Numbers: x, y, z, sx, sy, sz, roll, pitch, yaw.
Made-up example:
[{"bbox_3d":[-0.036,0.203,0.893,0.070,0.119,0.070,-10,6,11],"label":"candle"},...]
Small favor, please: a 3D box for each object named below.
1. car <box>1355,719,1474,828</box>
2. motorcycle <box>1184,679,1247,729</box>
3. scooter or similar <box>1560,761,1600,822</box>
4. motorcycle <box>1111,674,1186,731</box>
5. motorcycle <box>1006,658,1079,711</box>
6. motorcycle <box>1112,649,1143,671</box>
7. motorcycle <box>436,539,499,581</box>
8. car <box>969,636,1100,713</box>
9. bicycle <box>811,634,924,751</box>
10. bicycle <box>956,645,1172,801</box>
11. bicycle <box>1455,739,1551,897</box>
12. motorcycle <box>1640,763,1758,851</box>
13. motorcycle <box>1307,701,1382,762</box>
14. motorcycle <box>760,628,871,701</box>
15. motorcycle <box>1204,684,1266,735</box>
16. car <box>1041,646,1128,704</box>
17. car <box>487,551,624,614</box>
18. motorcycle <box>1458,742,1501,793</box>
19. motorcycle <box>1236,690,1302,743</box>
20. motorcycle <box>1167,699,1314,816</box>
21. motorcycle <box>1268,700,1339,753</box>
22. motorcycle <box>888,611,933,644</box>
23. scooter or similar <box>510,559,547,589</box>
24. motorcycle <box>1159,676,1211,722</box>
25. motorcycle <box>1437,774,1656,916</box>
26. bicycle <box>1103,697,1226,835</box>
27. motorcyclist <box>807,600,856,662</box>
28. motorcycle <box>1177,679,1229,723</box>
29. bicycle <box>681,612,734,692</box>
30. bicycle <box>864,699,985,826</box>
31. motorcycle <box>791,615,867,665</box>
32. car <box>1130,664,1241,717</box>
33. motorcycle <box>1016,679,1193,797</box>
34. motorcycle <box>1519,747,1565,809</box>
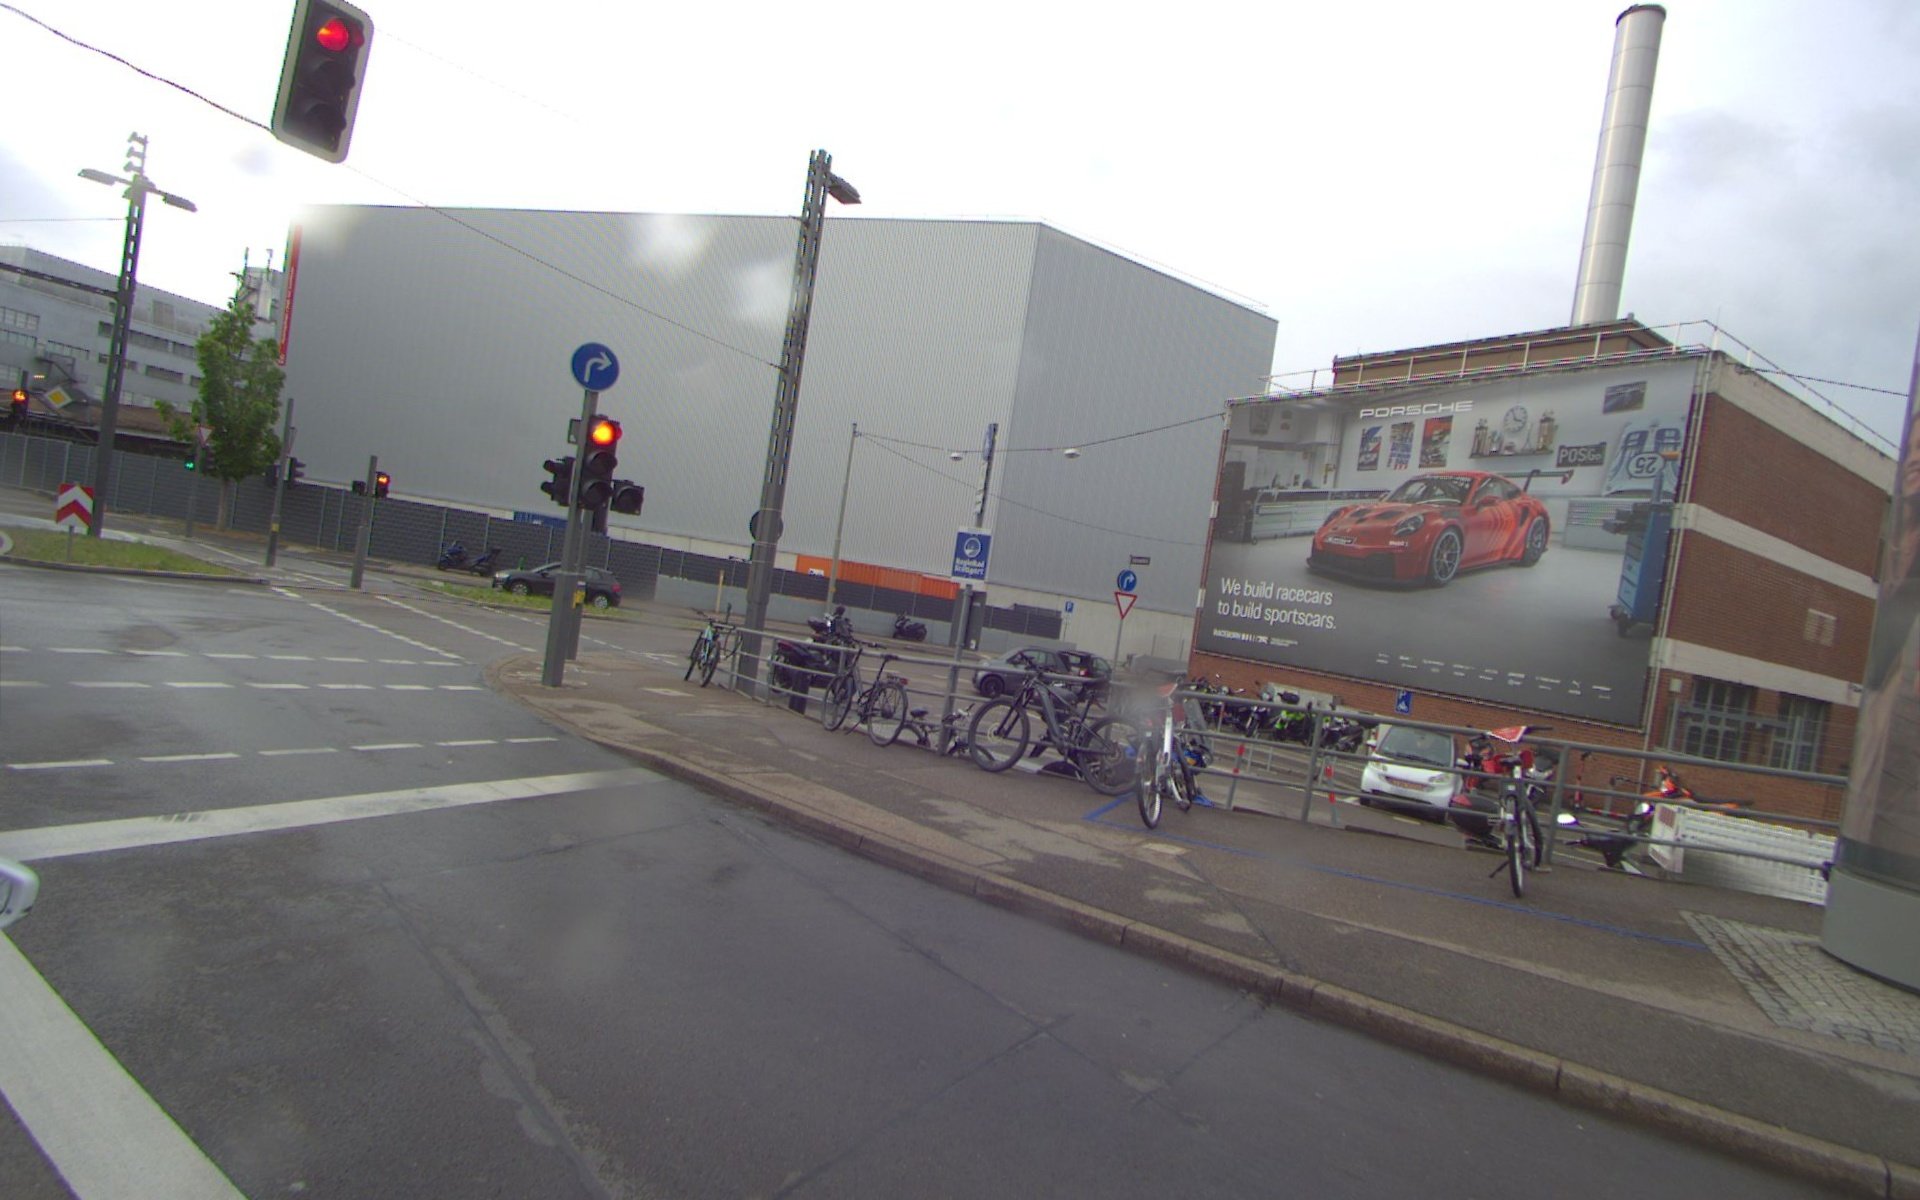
[{"bbox_3d":[8.603,3.137,18.858,1.541,1.506,3.996,8,-1,29],"label":"car"},{"bbox_3d":[7.227,2.937,28.426,1.631,1.194,0.670,8,-2,-30],"label":"motorcycle"},{"bbox_3d":[12.900,3.958,20.905,0.496,1.109,1.635,6,-2,36],"label":"scooter or similar"},{"bbox_3d":[4.505,2.440,24.180,0.539,1.123,1.850,8,-2,-32],"label":"motorcycle"},{"bbox_3d":[2.110,2.156,25.632,1.702,1.159,0.492,8,-2,-24],"label":"motorcycle"},{"bbox_3d":[10.573,3.810,63.609,0.622,1.088,1.906,8,0,-38],"label":"motorcycle"},{"bbox_3d":[-19.822,-1.606,40.499,2.082,1.326,0.649,10,0,-33],"label":"motorcycle"},{"bbox_3d":[1.977,2.006,27.386,3.190,1.521,1.624,9,0,-4],"label":"car"},{"bbox_3d":[-1.075,1.010,11.358,0.344,1.097,1.728,7,-1,-35],"label":"bicycle"},{"bbox_3d":[0.969,1.146,9.713,1.981,1.189,0.400,6,0,30],"label":"bicycle"},{"bbox_3d":[4.044,1.551,7.447,0.414,0.933,1.613,8,0,32],"label":"bicycle"},{"bbox_3d":[14.182,3.966,19.355,1.639,1.349,0.524,6,-1,21],"label":"motorcycle"},{"bbox_3d":[9.331,3.195,24.386,1.788,1.253,0.540,8,1,-30],"label":"motorcycle"},{"bbox_3d":[-2.604,1.200,18.368,0.481,1.158,2.086,6,-2,41],"label":"motorcycle"},{"bbox_3d":[7.448,2.968,27.225,1.631,1.194,0.541,8,-2,-30],"label":"motorcycle"},{"bbox_3d":[4.146,2.486,33.270,1.530,1.510,2.745,11,0,37],"label":"car"},{"bbox_3d":[-13.500,-0.579,33.635,3.958,1.442,1.707,9,-1,-30],"label":"car"},{"bbox_3d":[11.401,3.658,22.054,0.533,0.984,1.613,6,-2,36],"label":"motorcycle"},{"bbox_3d":[8.099,3.048,26.333,1.695,1.194,0.541,8,-2,-30],"label":"motorcycle"},{"bbox_3d":[2.716,1.501,9.745,1.241,0.901,0.434,6,0,23],"label":"motorcycle"},{"bbox_3d":[8.540,3.149,24.985,1.789,1.132,0.474,8,-2,-28],"label":"motorcycle"},{"bbox_3d":[-2.536,1.434,51.944,2.082,1.393,0.649,10,0,-33],"label":"motorcycle"},{"bbox_3d":[-17.802,-1.077,41.514,1.247,1.041,0.385,9,0,0],"label":"scooter or similar"},{"bbox_3d":[6.655,2.920,29.777,0.538,1.133,1.593,8,-2,-25],"label":"motorcycle"},{"bbox_3d":[5.061,2.102,8.761,1.512,0.901,0.403,6,0,19],"label":"motorcycle"},{"bbox_3d":[1.747,1.327,8.392,0.414,0.973,1.744,6,-1,29],"label":"bicycle"},{"bbox_3d":[-3.699,0.892,29.023,1.028,1.642,0.662,7,1,-43],"label":"motorcyclist"},{"bbox_3d":[7.386,3.062,30.629,0.538,1.123,1.639,8,-2,-25],"label":"motorcycle"},{"bbox_3d":[-4.093,0.801,16.225,0.416,1.143,2.064,7,-2,-22],"label":"bicycle"},{"bbox_3d":[-0.431,1.755,11.137,0.344,1.097,1.728,7,-1,-35],"label":"bicycle"},{"bbox_3d":[-3.752,1.170,28.943,0.445,1.207,2.254,8,0,45],"label":"motorcycle"},{"bbox_3d":[8.287,3.317,36.865,4.070,1.460,1.554,9,-2,-35],"label":"car"},{"bbox_3d":[1.443,1.375,10.278,1.722,0.906,0.545,6,-1,44],"label":"motorcycle"},{"bbox_3d":[12.353,3.753,21.329,0.576,1.165,1.717,6,-2,36],"label":"motorcycle"}]
